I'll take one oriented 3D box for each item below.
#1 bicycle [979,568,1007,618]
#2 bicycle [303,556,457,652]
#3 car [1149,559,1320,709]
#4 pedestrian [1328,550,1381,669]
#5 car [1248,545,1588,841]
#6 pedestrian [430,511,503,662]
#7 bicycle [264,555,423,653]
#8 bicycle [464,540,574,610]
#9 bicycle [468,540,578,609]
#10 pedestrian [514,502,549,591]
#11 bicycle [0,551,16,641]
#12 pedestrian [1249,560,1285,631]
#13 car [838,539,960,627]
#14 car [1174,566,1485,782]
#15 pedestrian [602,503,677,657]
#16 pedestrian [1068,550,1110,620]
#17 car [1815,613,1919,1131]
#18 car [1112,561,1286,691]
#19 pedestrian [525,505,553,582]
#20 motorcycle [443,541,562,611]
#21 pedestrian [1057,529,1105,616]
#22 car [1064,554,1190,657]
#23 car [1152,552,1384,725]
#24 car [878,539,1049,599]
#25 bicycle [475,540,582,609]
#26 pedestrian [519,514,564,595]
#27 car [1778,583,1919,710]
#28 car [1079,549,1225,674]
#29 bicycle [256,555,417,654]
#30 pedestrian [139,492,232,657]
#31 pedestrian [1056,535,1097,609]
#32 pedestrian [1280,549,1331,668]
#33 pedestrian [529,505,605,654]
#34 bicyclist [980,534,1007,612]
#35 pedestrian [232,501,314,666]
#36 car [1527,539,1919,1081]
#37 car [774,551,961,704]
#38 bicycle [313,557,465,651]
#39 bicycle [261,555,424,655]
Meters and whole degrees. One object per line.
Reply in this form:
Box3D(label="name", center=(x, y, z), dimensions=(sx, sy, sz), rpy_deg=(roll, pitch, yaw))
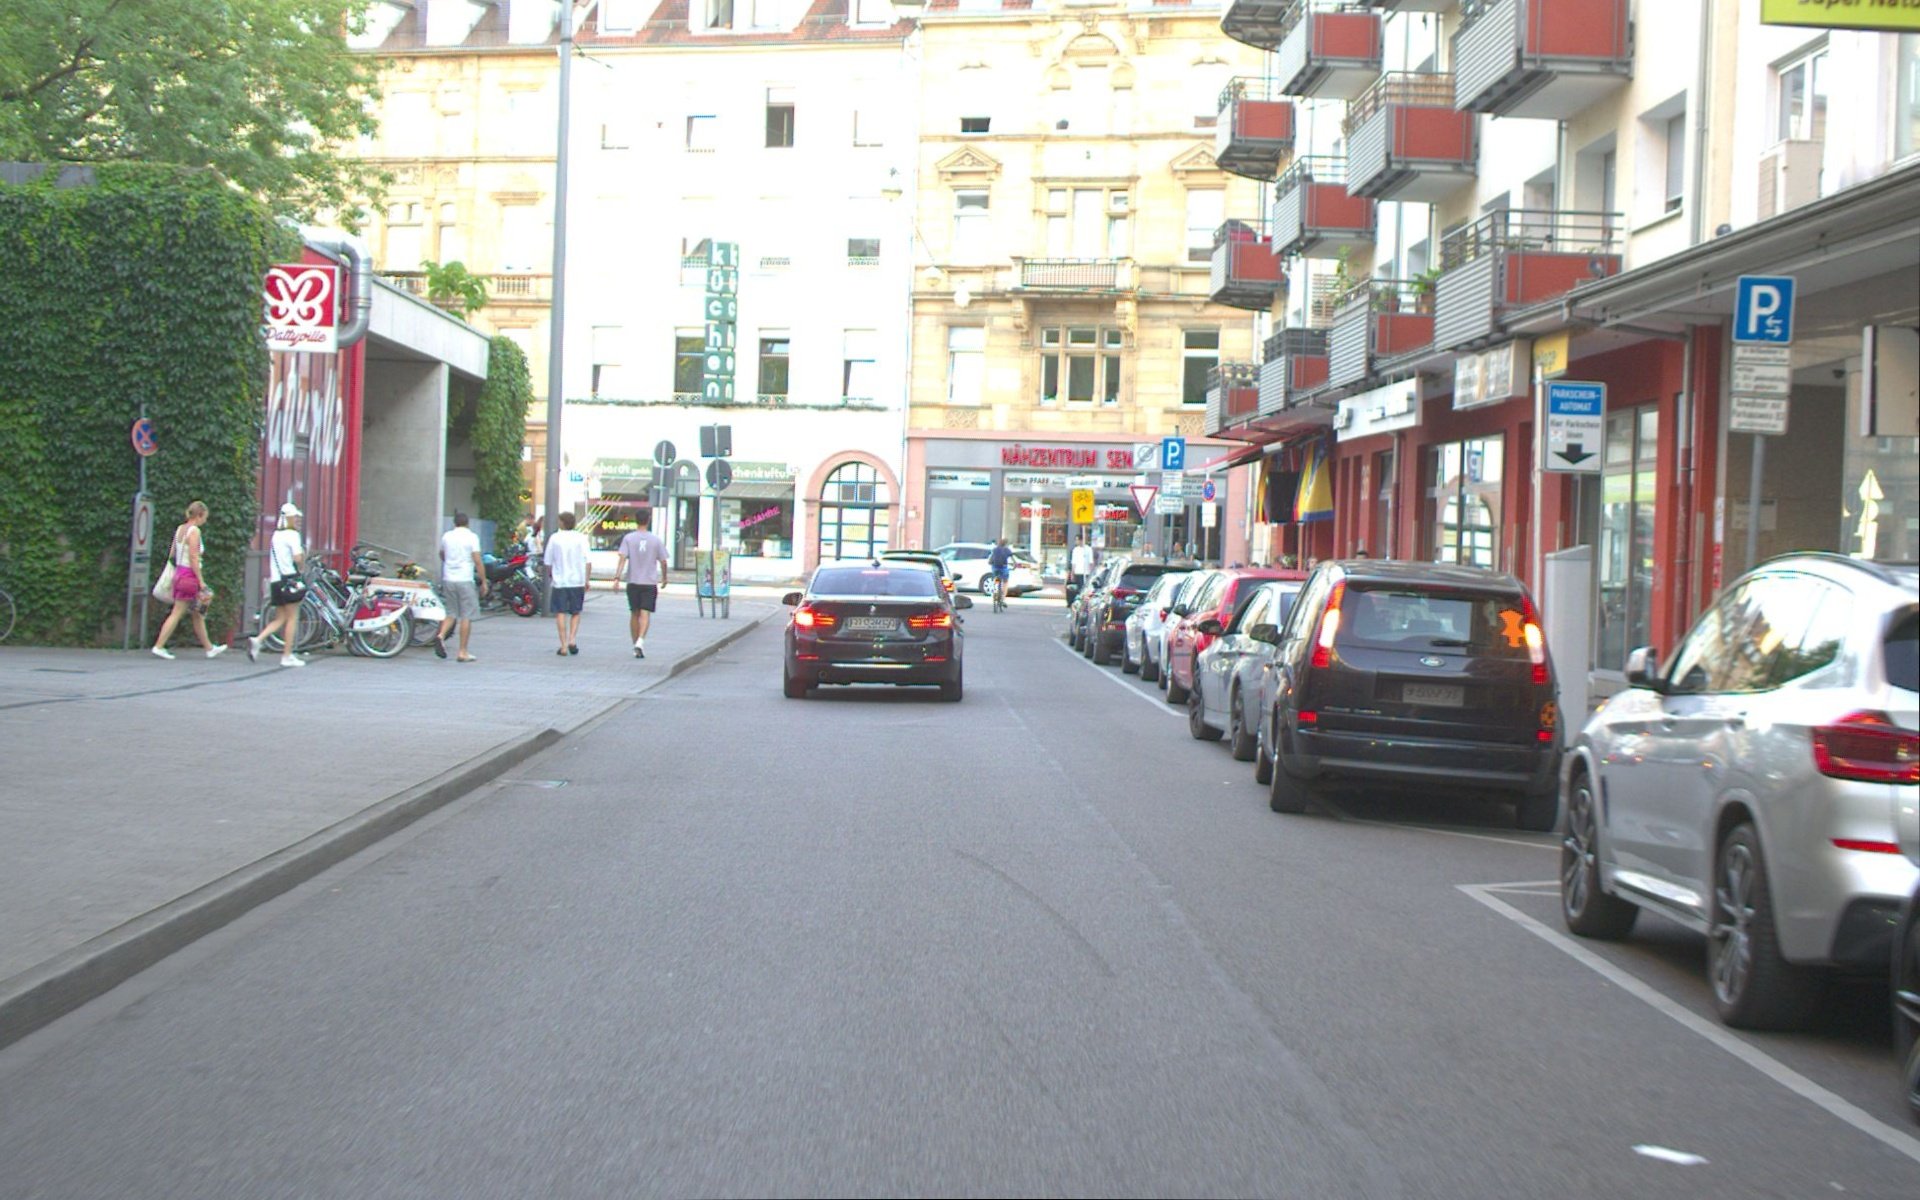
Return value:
Box3D(label="bicycle", center=(0.751, -0.165, 78.257), dimensions=(0.536, 1.104, 1.800), rpy_deg=(3, 1, 2))
Box3D(label="bicycle", center=(-7.263, 0.049, 43.090), dimensions=(1.794, 1.104, 0.500), rpy_deg=(3, 1, 3))
Box3D(label="car", center=(3.168, 0.357, 40.302), dimensions=(1.606, 1.507, 4.048), rpy_deg=(4, 1, 0))
Box3D(label="pedestrian", center=(5.578, 0.133, 48.595), dimensions=(0.648, 1.655, 0.794), rpy_deg=(-1, 1, 1))
Box3D(label="car", center=(2.887, 0.509, 22.524), dimensions=(1.794, 1.604, 4.486), rpy_deg=(4, 1, 4))
Box3D(label="pedestrian", center=(-5.852, -0.167, 40.806), dimensions=(0.717, 1.748, 0.848), rpy_deg=(2, 1, -2))
Box3D(label="bicycle", center=(-7.422, 0.049, 41.448), dimensions=(1.794, 1.104, 0.500), rpy_deg=(2, 1, -2))
Box3D(label="bicycle", center=(-7.601, -0.437, 59.300), dimensions=(1.794, 1.104, 0.500), rpy_deg=(3, 1, -1))
Box3D(label="bicycle", center=(-7.613, -0.446, 59.894), dimensions=(1.794, 1.104, 0.500), rpy_deg=(3, 1, 2))
Box3D(label="pedestrian", center=(-9.221, -1.154, 74.050), dimensions=(0.583, 1.876, 0.633), rpy_deg=(2, 1, 5))
Box3D(label="bicycle", center=(-11.596, -0.083, 38.957), dimensions=(1.660, 1.010, 0.370), rpy_deg=(2, 1, 1))
Box3D(label="pedestrian", center=(5.898, -0.094, 66.077), dimensions=(0.606, 1.343, 0.696), rpy_deg=(0, 1, -2))
Box3D(label="car", center=(-1.062, -0.331, 61.854), dimensions=(1.877, 1.468, 4.000), rpy_deg=(2, 1, 3))
Box3D(label="car", center=(2.895, 0.527, 27.902), dimensions=(1.736, 1.410, 4.683), rpy_deg=(4, 1, -2))
Box3D(label="pedestrian", center=(-4.046, -0.259, 43.456), dimensions=(0.744, 1.887, 1.050), rpy_deg=(3, 1, 0))
Box3D(label="pedestrian", center=(2.854, -0.334, 76.248), dimensions=(0.735, 1.508, 0.650), rpy_deg=(3, 1, -9))
Box3D(label="car", center=(3.564, 0.862, 8.315), dimensions=(1.691, 1.410, 4.757), rpy_deg=(4, 1, 0))
Box3D(label="car", center=(3.109, 0.304, 45.479), dimensions=(1.698, 1.447, 4.459), rpy_deg=(4, 1, -3))
Box3D(label="pedestrian", center=(-8.979, -1.209, 73.318), dimensions=(0.500, 1.637, 0.520), rpy_deg=(1, 1, 1))
Box3D(label="motorcycle", center=(-7.700, -0.404, 57.866), dimensions=(1.803, 1.060, 0.763), rpy_deg=(4, 1, 25))
Box3D(label="pedestrian", center=(2.653, -0.600, 75.169), dimensions=(0.676, 1.871, 0.701), rpy_deg=(2, 1, -38))
Box3D(label="car", center=(2.764, 0.059, 57.906), dimensions=(1.765, 1.497, 4.791), rpy_deg=(4, 1, 0))
Box3D(label="car", center=(3.122, 0.340, 35.766), dimensions=(1.712, 1.507, 4.653), rpy_deg=(4, 1, -2))
Box3D(label="car", center=(0.101, -0.870, 96.081), dimensions=(4.357, 1.557, 1.866), rpy_deg=(2, 0, 22))
Box3D(label="bicycle", center=(-7.603, -0.454, 60.644), dimensions=(1.794, 1.104, 0.500), rpy_deg=(3, 1, -5))
Box3D(label="pedestrian", center=(-9.106, -0.996, 74.865), dimensions=(0.673, 1.740, 0.655), rpy_deg=(2, 1, 39))
Box3D(label="car", center=(10.969, 0.525, 40.559), dimensions=(1.739, 1.332, 4.000), rpy_deg=(1, 1, 1))
Box3D(label="car", center=(2.852, 0.127, 52.014), dimensions=(1.765, 1.636, 4.791), rpy_deg=(4, 1, -1))
Box3D(label="bicycle", center=(-7.412, 0.051, 40.912), dimensions=(1.794, 1.104, 0.500), rpy_deg=(2, 1, -2))
Box3D(label="pedestrian", center=(-8.482, -0.285, 37.675), dimensions=(0.753, 1.743, 0.846), rpy_deg=(3, 1, -1))
Box3D(label="pedestrian", center=(2.602, -0.633, 76.897), dimensions=(0.724, 1.603, 0.650), rpy_deg=(3, 1, -9))
Box3D(label="pedestrian", center=(4.890, 0.114, 48.675), dimensions=(0.648, 1.655, 0.655), rpy_deg=(-1, 1, 1))
Box3D(label="pedestrian", center=(-4.937, -0.260, 43.230), dimensions=(0.741, 1.806, 1.009), rpy_deg=(4, 1, -1))
Box3D(label="bicyclist", center=(0.768, -0.611, 78.228), dimensions=(0.523, 1.750, 0.620), rpy_deg=(3, 1, 3))
Box3D(label="pedestrian", center=(-7.466, -0.191, 37.389), dimensions=(0.649, 1.744, 0.986), rpy_deg=(2, 1, -1))
Box3D(label="car", center=(3.529, 0.674, 13.282), dimensions=(1.752, 1.662, 4.757), rpy_deg=(4, 1, 0))
Box3D(label="car", center=(-0.914, 0.239, 36.040), dimensions=(1.765, 1.370, 4.791), rpy_deg=(3, 1, 0))
Box3D(label="bicycle", center=(-7.256, 0.046, 43.722), dimensions=(1.794, 1.104, 0.500), rpy_deg=(3, 1, 3))
Box3D(label="bicycle", center=(-7.278, 0.056, 40.567), dimensions=(1.794, 1.104, 0.500), rpy_deg=(2, 1, -1))
